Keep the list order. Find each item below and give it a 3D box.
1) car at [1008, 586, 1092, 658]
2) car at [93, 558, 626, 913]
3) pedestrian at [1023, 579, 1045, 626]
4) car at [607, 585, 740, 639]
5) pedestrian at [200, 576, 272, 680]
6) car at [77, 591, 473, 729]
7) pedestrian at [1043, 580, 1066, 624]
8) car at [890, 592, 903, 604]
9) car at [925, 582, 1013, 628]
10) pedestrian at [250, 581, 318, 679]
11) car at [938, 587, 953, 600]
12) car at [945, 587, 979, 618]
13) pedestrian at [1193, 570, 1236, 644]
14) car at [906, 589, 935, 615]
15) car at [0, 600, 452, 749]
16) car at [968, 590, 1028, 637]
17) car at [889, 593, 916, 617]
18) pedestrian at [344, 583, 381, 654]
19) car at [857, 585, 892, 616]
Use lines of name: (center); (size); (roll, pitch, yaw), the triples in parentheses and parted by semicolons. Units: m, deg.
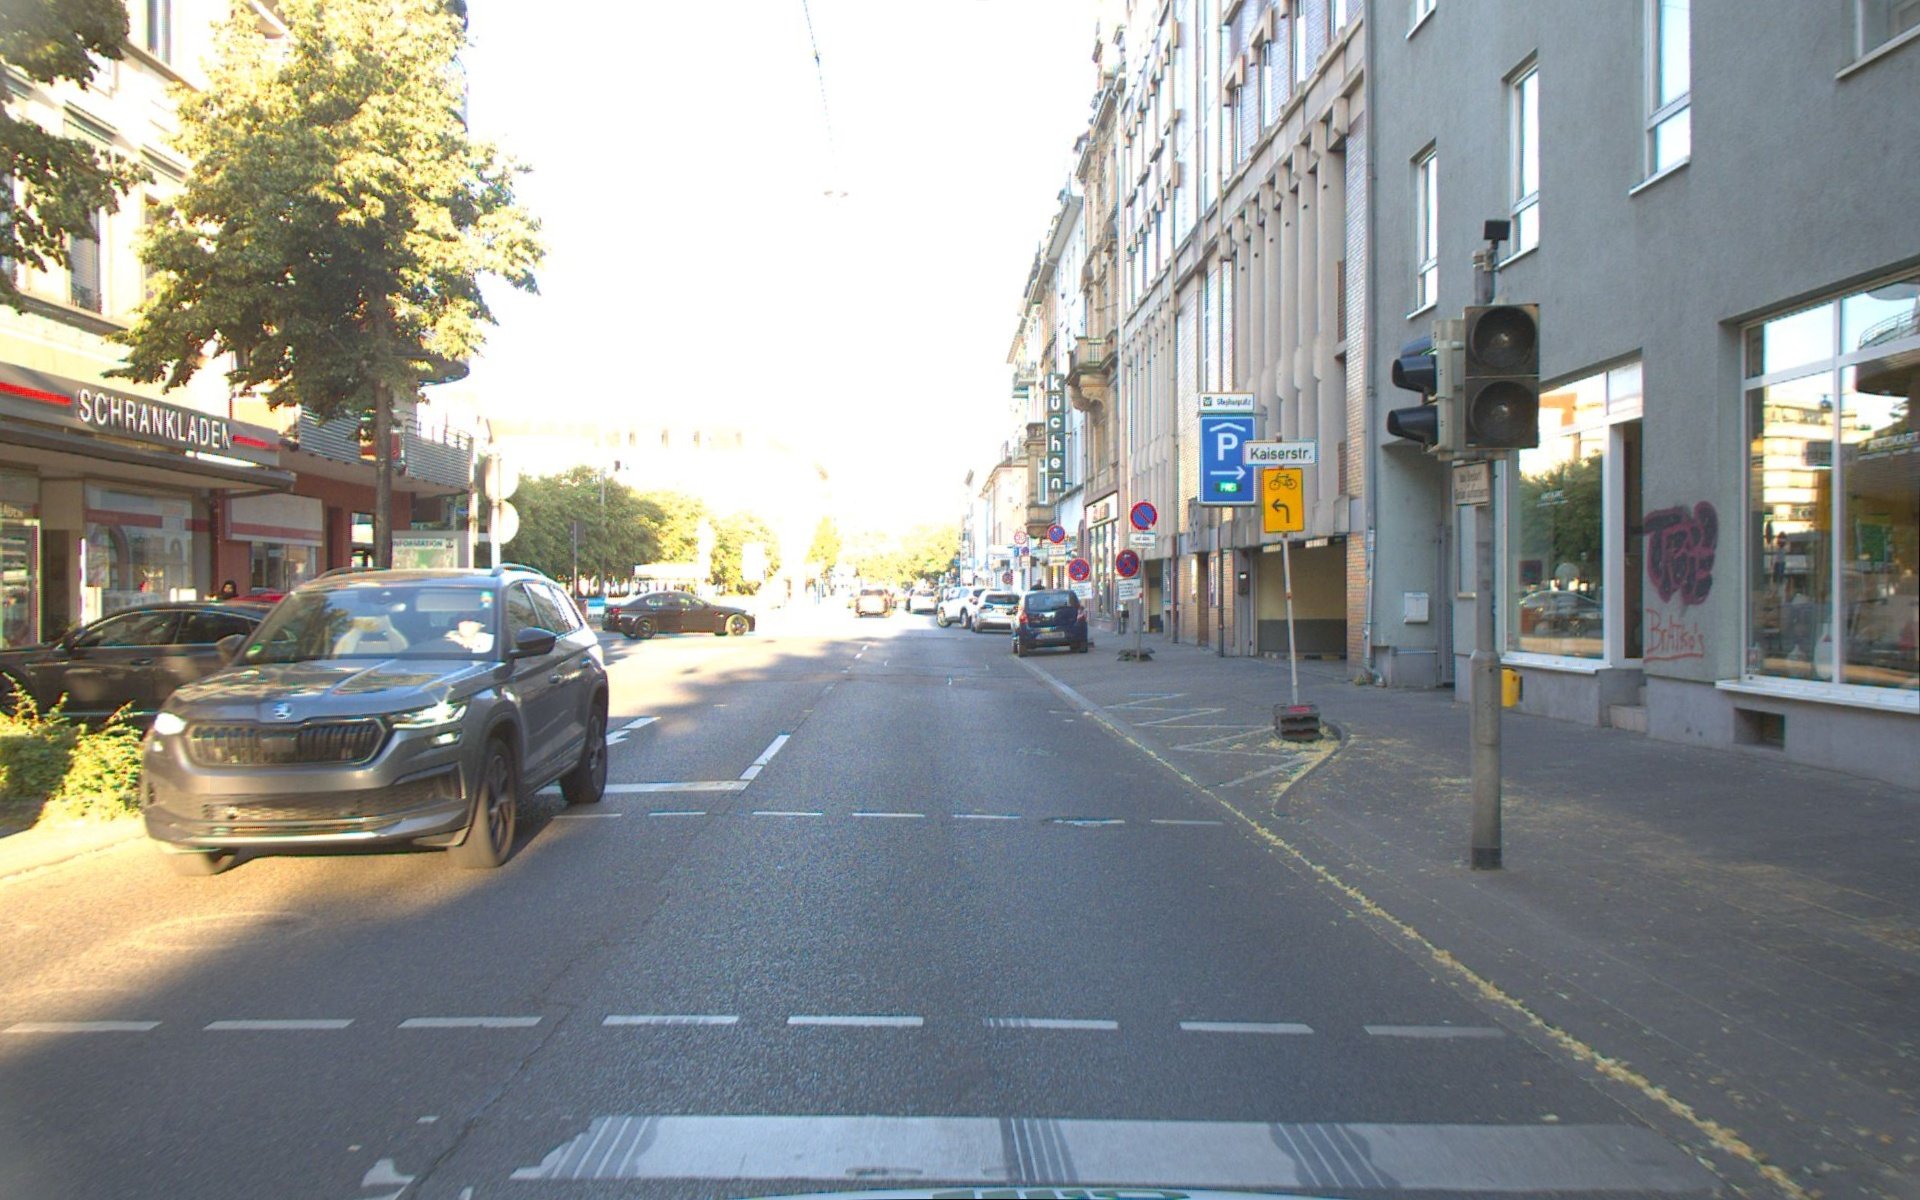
car: (2.135, 0.493, 40.228); (1.723, 1.563, 4.000); (-4, 0, -1)
car: (-3.407, 0.610, 10.398); (1.824, 1.721, 4.459); (-1, 1, -2)
pedestrian: (2.991, 0.109, 67.185); (0.757, 1.859, 1.010); (-2, 0, -2)
car: (-9.011, 0.374, 51.893); (3.923, 1.609, 1.894); (1, 0, -17)
pedestrian: (-11.686, 0.452, 26.714); (0.756, 1.636, 0.875); (1, -1, -1)
car: (-8.188, 0.693, 20.063); (3.990, 1.563, 1.883); (1, 0, -2)
pedestrian: (3.846, 0.088, 67.287); (0.757, 1.741, 1.041); (-2, 0, -2)
car: (-8.245, -0.295, 215.368); (1.744, 1.574, 3.998); (0, 0, -2)
car: (0.336, 0.212, 67.214); (1.967, 1.792, 4.433); (-1, 0, -23)
pedestrian: (-10.940, 0.485, 26.791); (0.719, 1.555, 0.875); (1, -1, -1)
car: (-1.843, -0.836, 211.214); (1.858, 1.609, 3.850); (0, 0, -2)
car: (0.101, 0.127, 93.002); (1.695, 1.679, 4.283); (1, 0, -2)
pedestrian: (5.680, 0.159, 36.937); (0.602, 1.627, 0.761); (0, 0, -44)
car: (-2.569, 0.106, 106.941); (1.858, 1.609, 3.998); (1, 0, -2)
car: (-7.838, 0.748, 17.321); (4.479, 1.432, 1.820); (1, 0, -3)
car: (1.299, 0.485, 58.824); (1.724, 1.563, 4.818); (1, 0, -3)
car: (-4.211, 0.361, 120.313); (1.858, 1.608, 3.850); (2, 0, -2)
pedestrian: (-13.894, 0.442, 38.468); (0.584, 1.623, 0.701); (-1, -1, 0)
car: (-4.728, 0.039, 92.025); (1.858, 1.678, 4.102); (0, 0, -2)
